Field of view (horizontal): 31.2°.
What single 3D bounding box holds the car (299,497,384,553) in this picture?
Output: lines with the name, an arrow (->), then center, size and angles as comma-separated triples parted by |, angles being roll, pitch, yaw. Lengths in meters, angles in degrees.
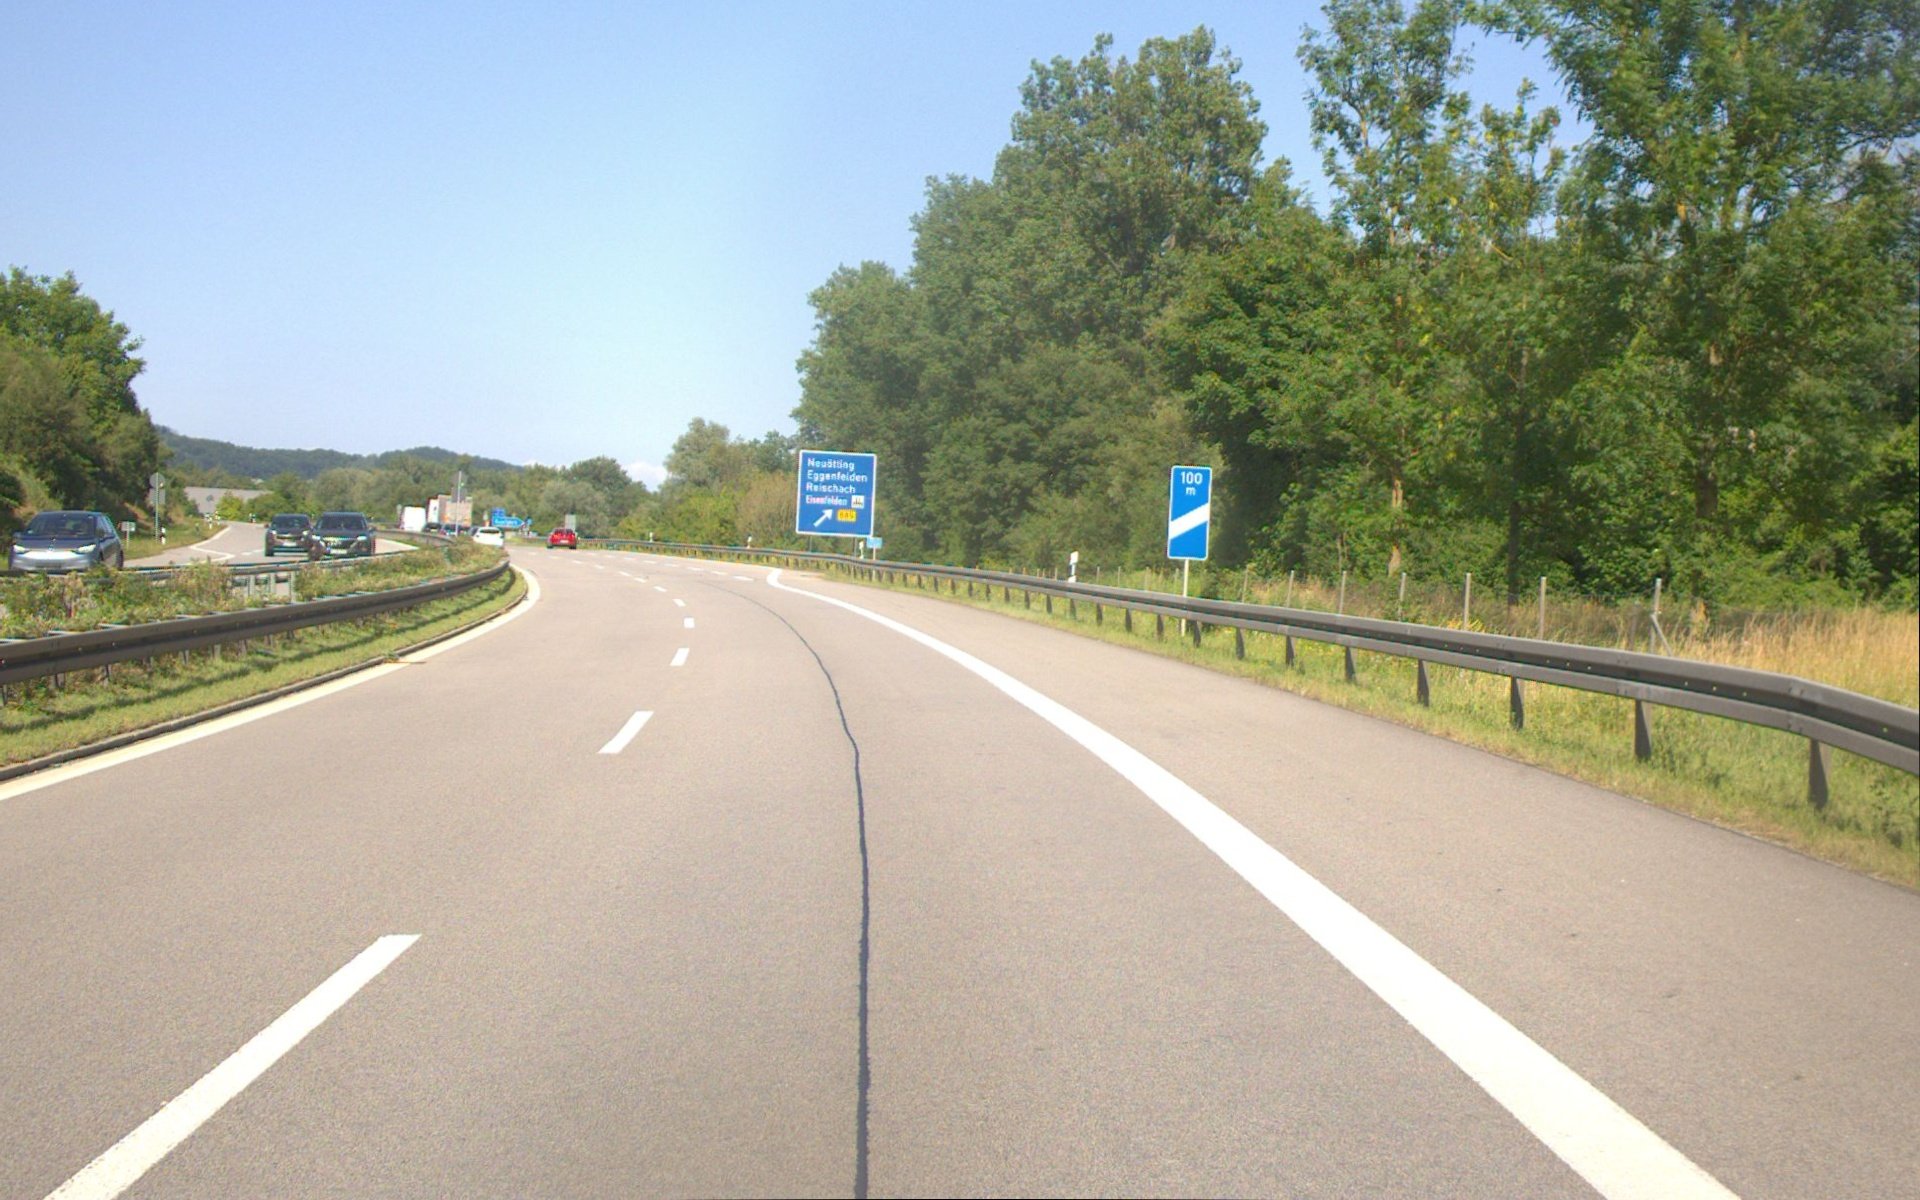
car -> -19.115, -2.318, 106.433 | 2.067, 1.673, 4.888 | -1, 1, -4

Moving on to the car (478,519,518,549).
car -> -27.333, -3.888, 203.456 | 2.061, 1.619, 4.001 | 1, -1, -11

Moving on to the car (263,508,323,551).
car -> -26.020, -2.768, 134.239 | 1.993, 1.646, 4.435 | 0, 1, -7

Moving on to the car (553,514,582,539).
car -> -26.452, -4.934, 231.790 | 1.783, 1.426, 4.001 | 6, 0, -7

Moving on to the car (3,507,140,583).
car -> -18.117, -1.129, 70.250 | 1.819, 1.475, 4.686 | 1, 1, -3
